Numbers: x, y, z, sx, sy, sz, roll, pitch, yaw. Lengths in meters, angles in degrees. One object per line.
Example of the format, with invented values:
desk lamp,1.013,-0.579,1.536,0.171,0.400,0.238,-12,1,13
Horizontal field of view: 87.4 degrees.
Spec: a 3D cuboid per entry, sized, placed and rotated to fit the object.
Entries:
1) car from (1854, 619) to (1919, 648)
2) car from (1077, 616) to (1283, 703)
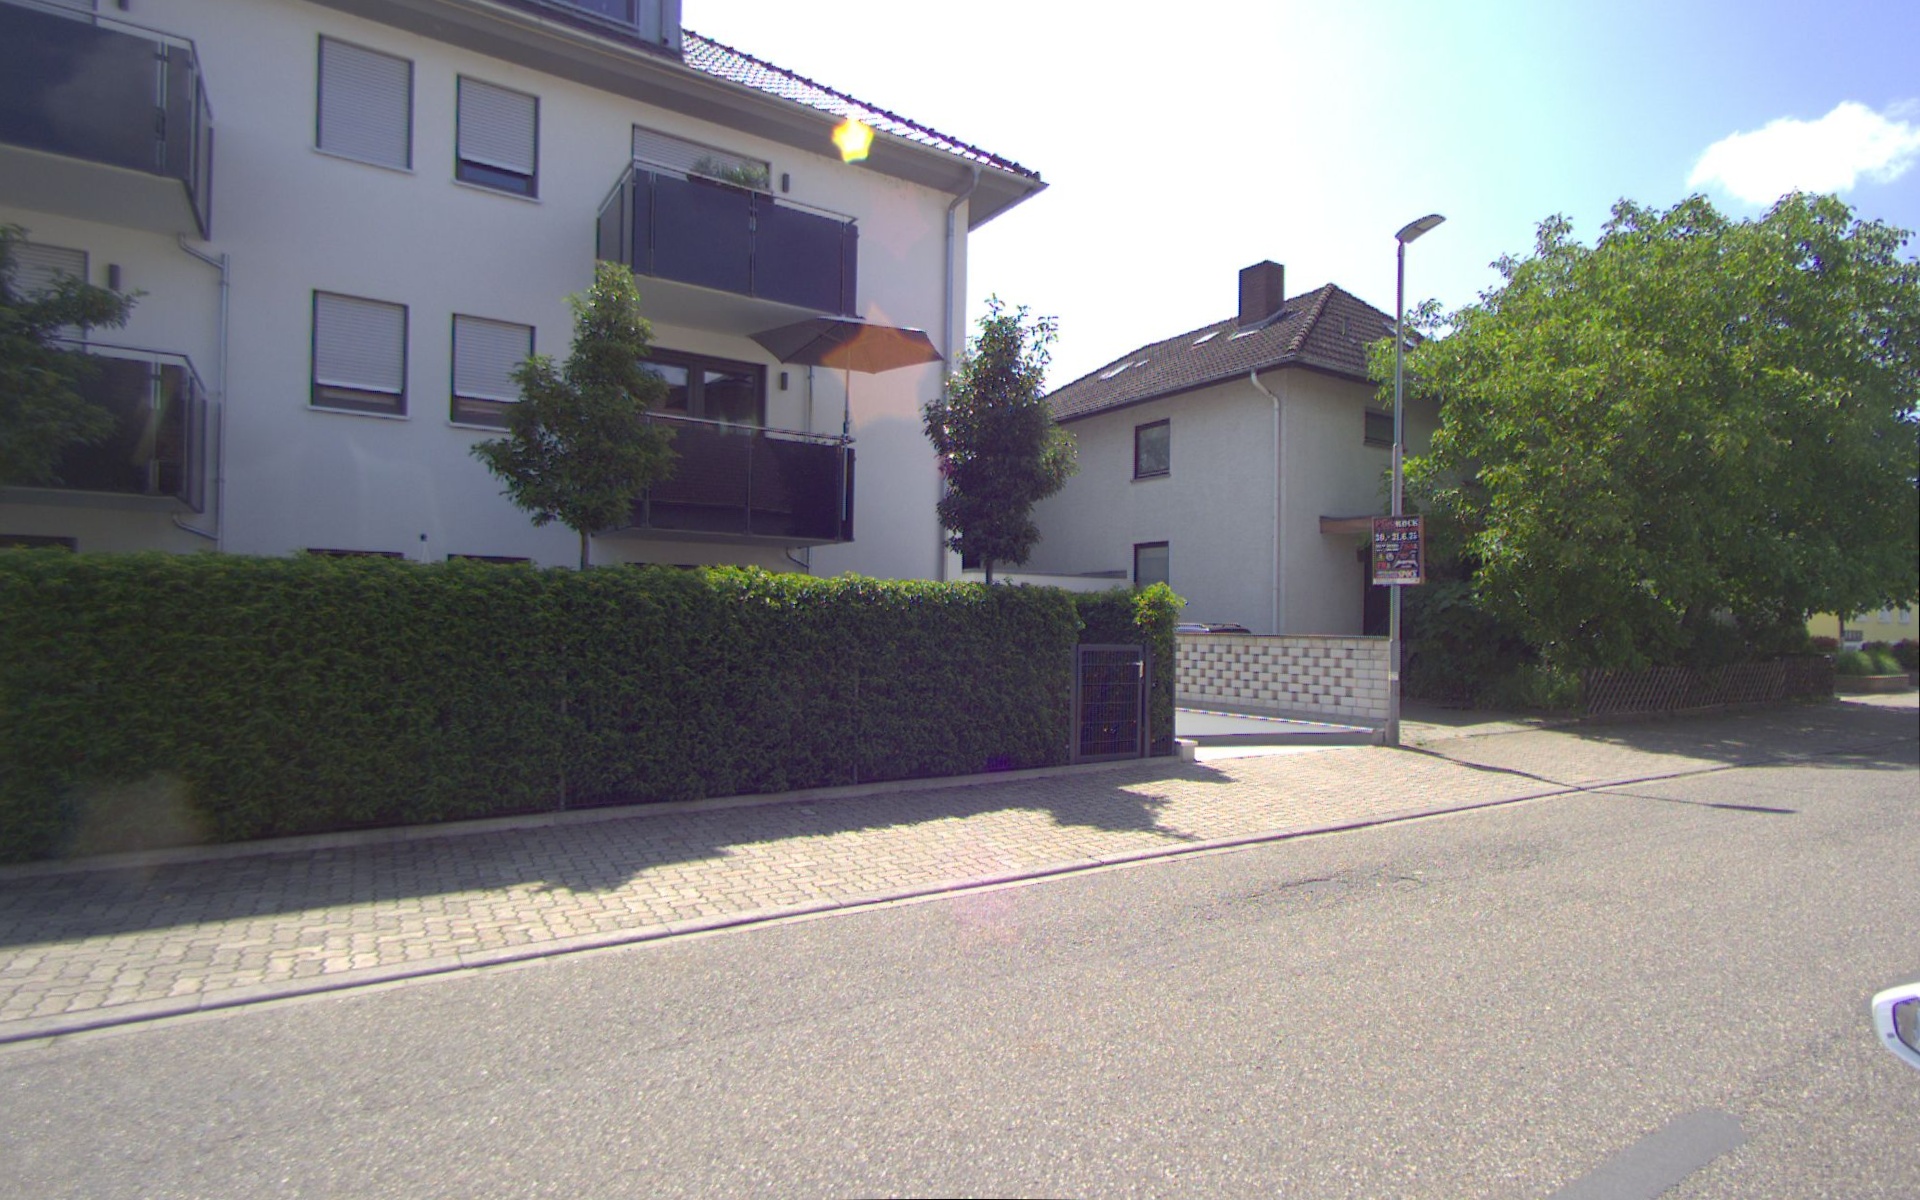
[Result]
car,58.288,2.137,62.177,4.173,1.508,1.747,4,3,0
car,4.172,1.072,19.608,1.773,1.512,3.894,0,-1,-30
